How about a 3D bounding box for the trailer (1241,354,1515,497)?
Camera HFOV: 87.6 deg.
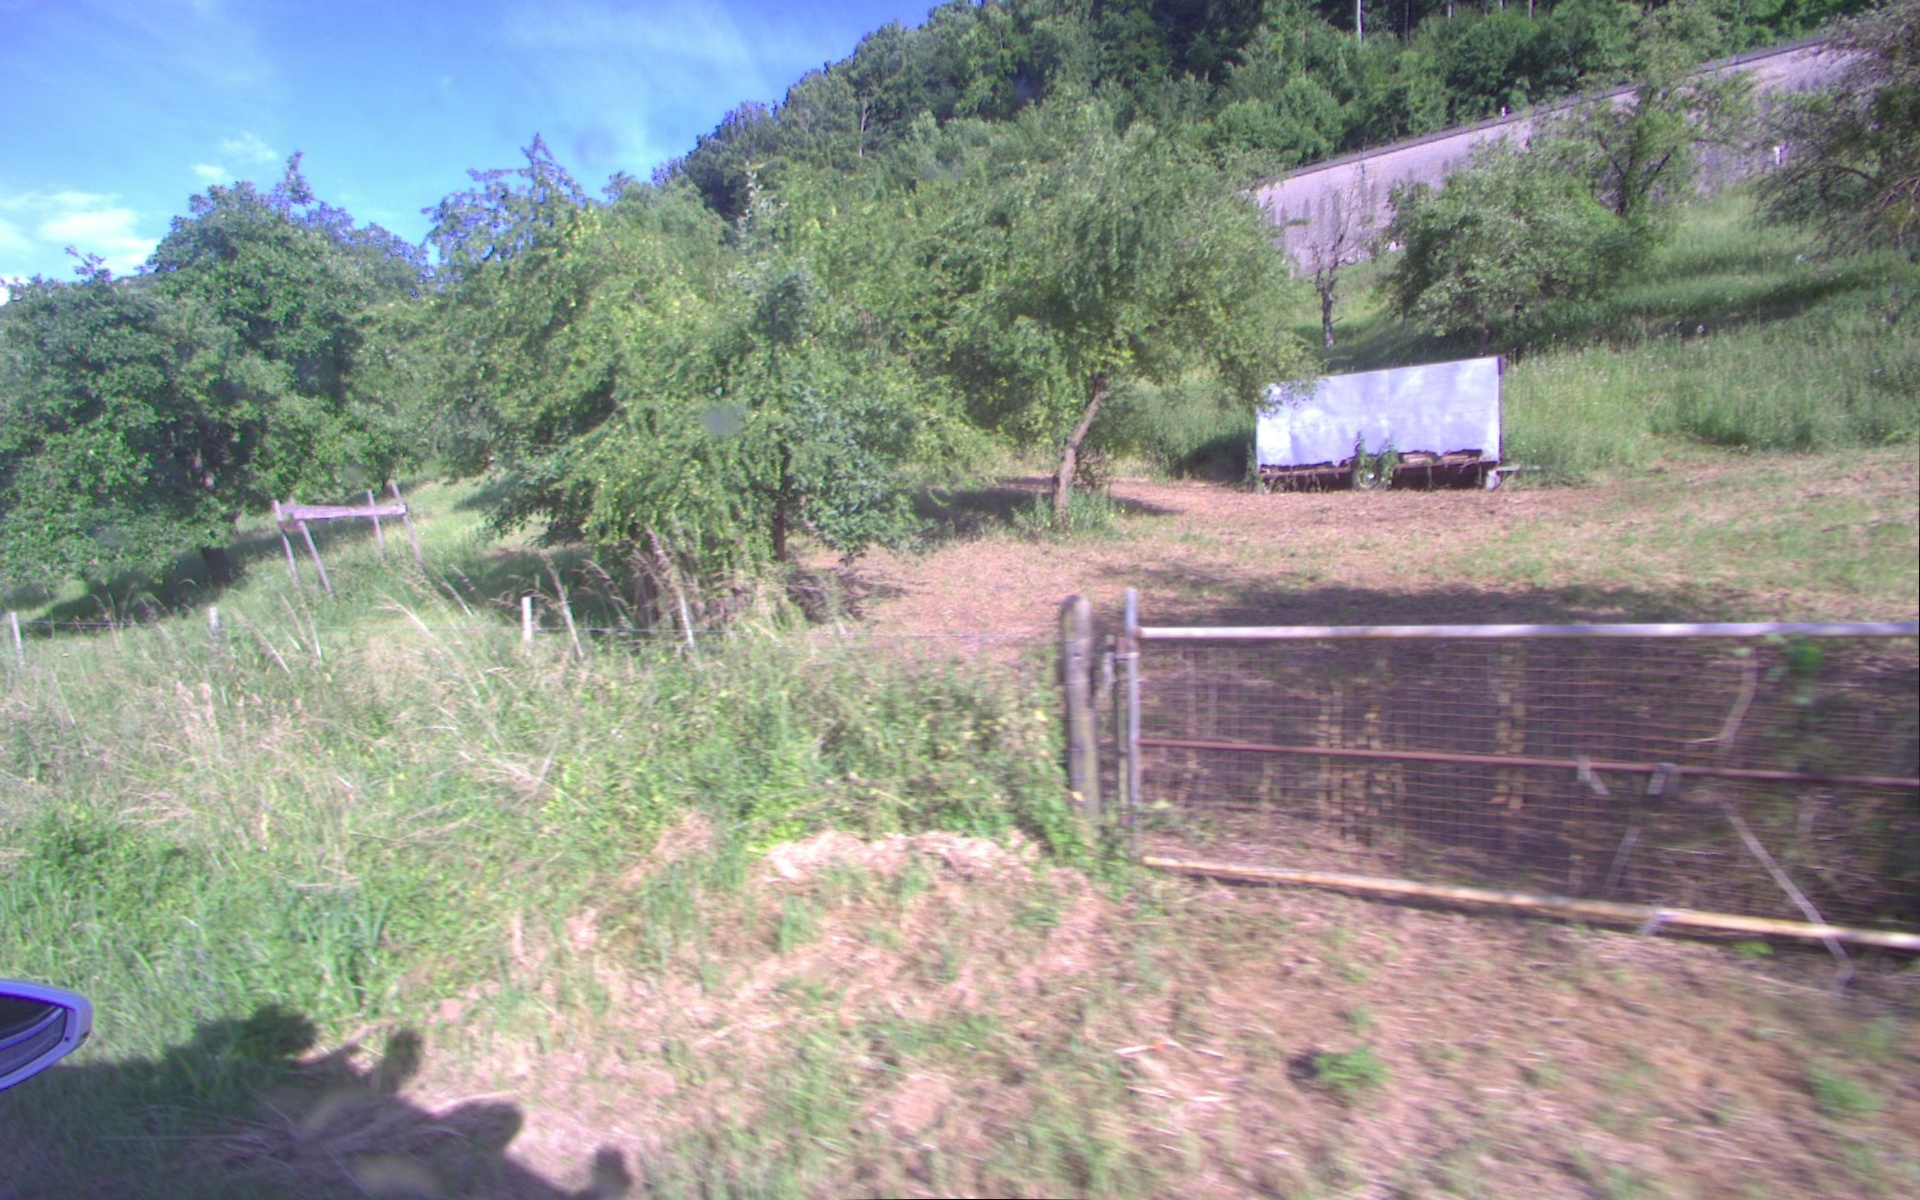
[{"bbox_3d":[8.976,-3.614,21.659,5.164,2.595,2.149,3,4,29],"label":"trailer"}]
